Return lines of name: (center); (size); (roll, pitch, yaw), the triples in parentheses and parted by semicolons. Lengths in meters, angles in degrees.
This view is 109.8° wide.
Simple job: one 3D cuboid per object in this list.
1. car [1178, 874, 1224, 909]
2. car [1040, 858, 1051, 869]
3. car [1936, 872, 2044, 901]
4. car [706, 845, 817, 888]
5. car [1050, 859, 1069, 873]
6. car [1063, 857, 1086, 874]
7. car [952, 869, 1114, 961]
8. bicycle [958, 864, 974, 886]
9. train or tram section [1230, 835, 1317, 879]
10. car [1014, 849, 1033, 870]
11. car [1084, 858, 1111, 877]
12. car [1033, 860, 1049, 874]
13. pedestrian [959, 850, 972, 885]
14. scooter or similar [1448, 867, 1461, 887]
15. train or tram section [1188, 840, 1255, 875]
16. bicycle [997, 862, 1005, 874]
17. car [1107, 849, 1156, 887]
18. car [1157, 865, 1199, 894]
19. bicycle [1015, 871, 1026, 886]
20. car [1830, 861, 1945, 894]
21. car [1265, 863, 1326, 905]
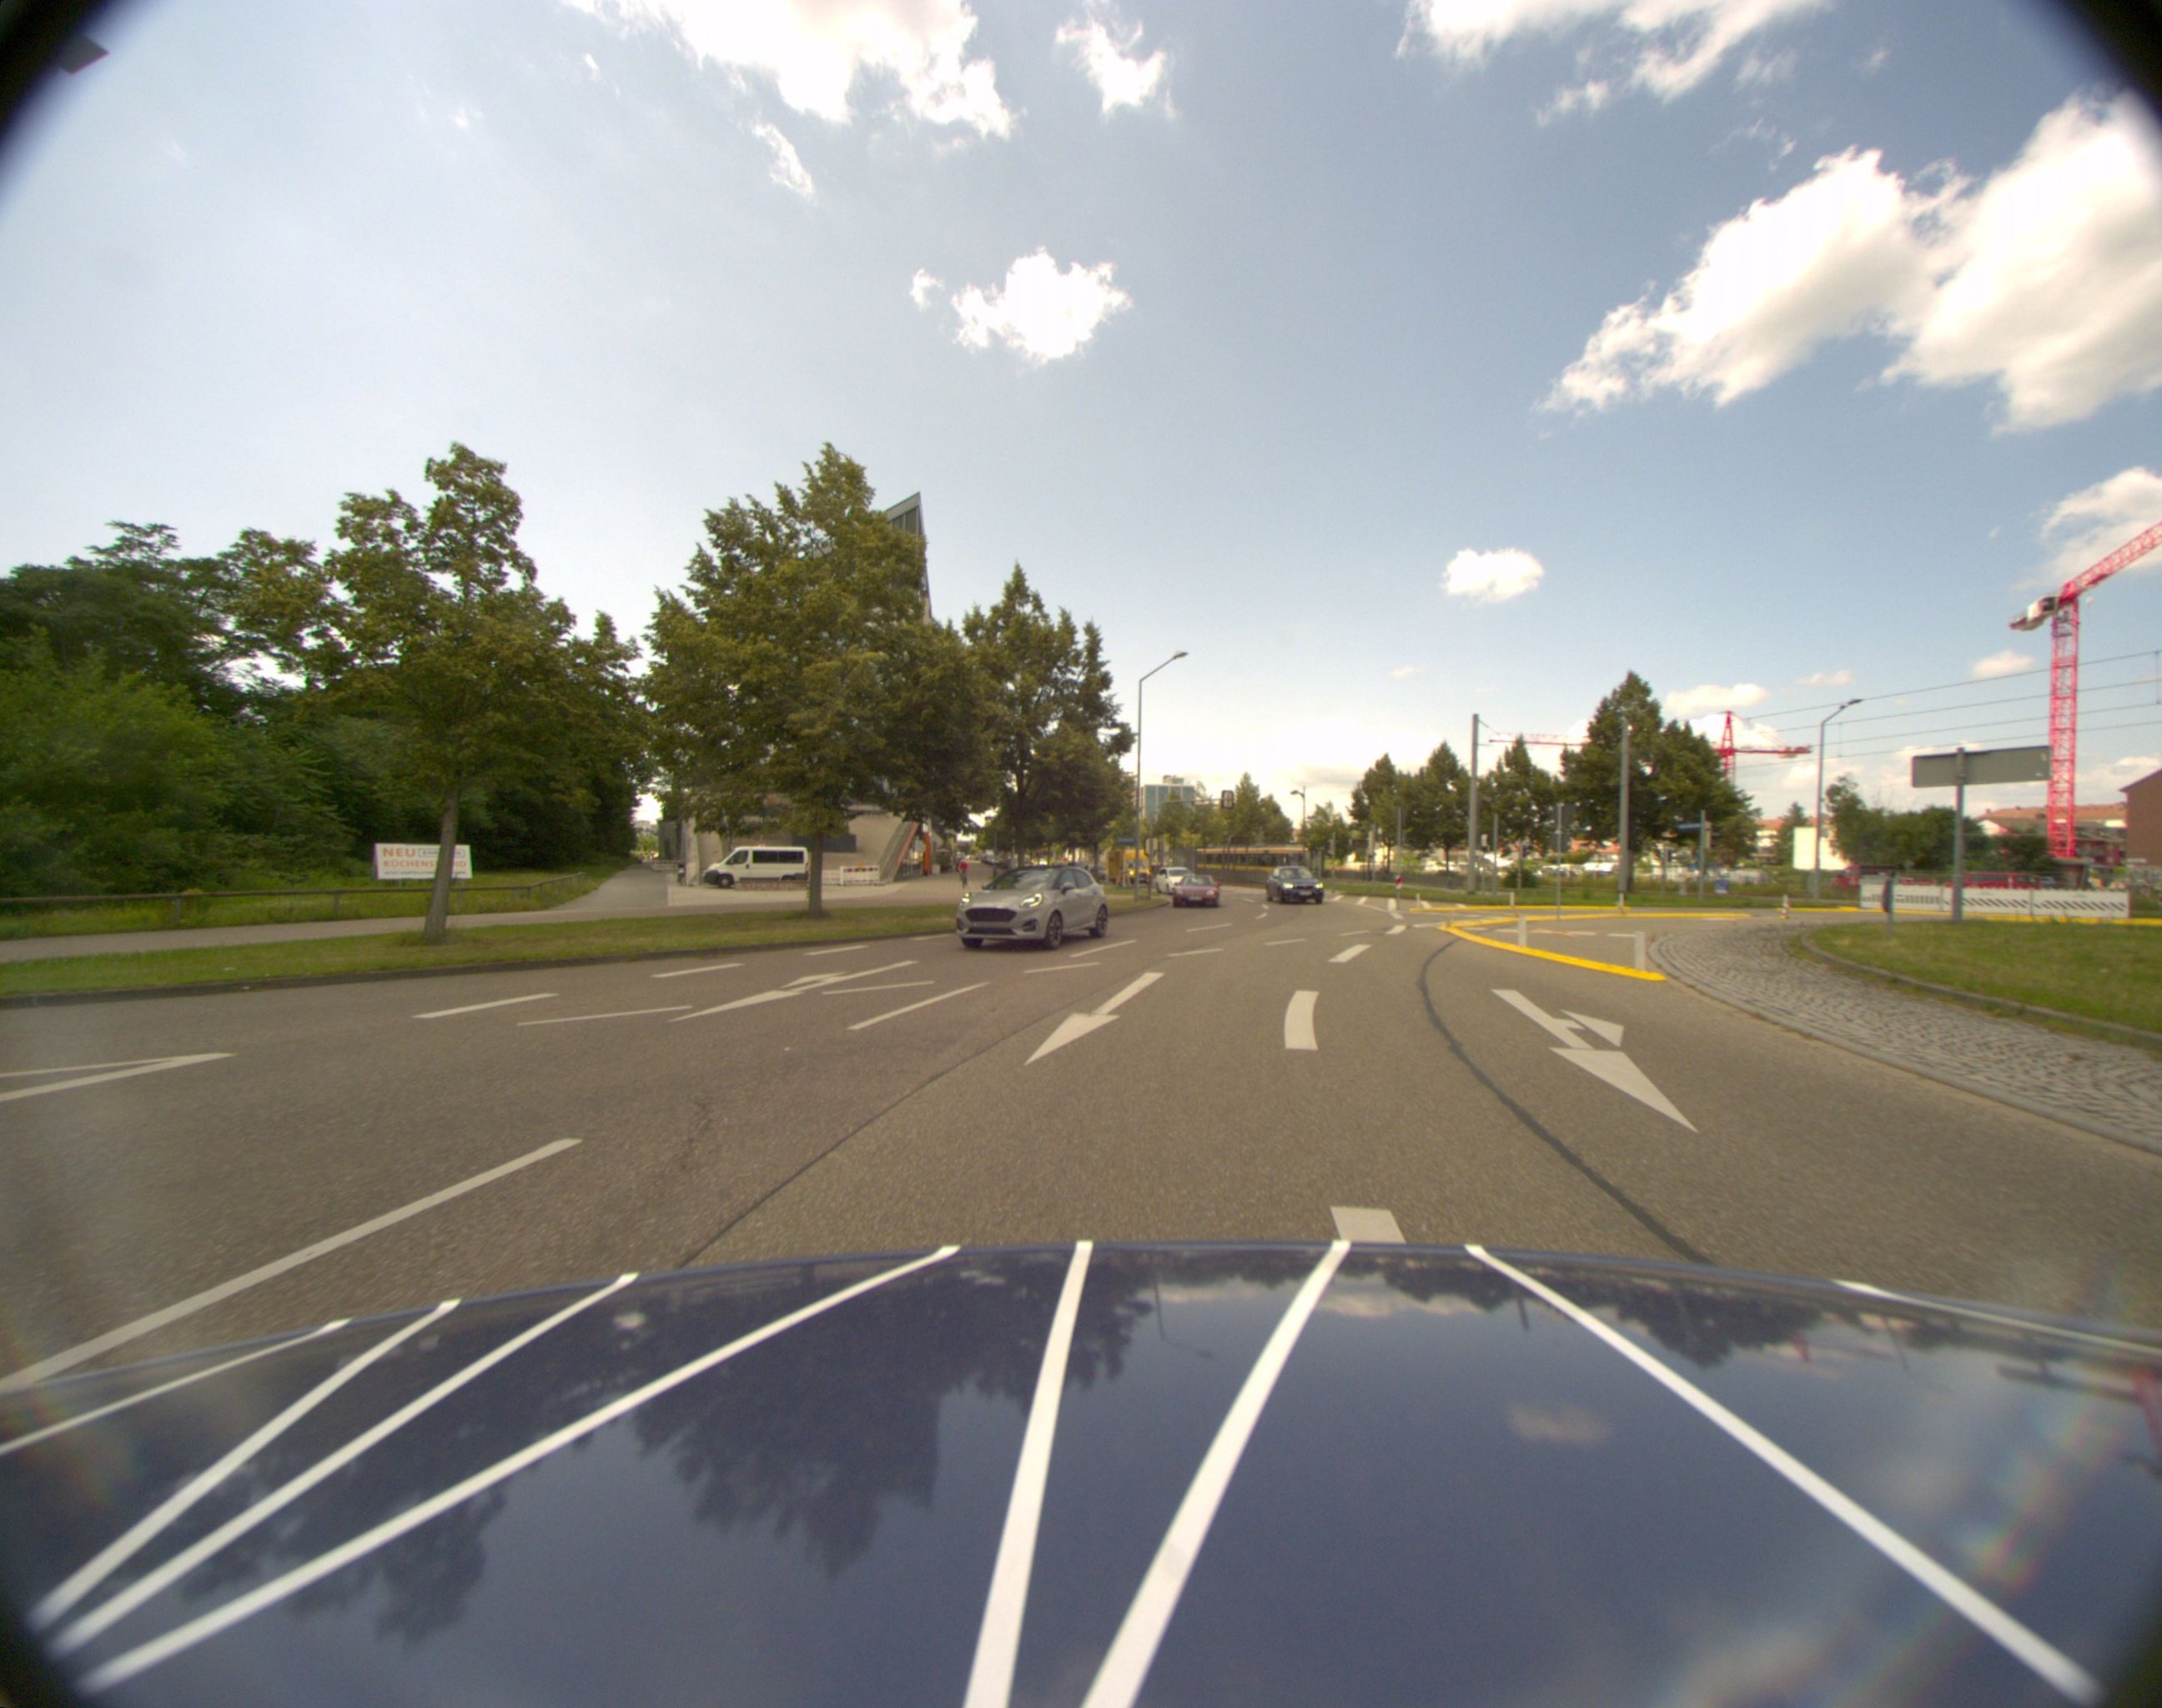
car: (4.899, 1.497, 31.404); (1.673, 1.254, 4.094); (0, 0, 6)
car: (-6.757, 1.819, 145.301); (1.999, 2.002, 3.998); (-1, 1, -4)
car: (64.421, 2.266, 54.017); (2.084, 1.841, 5.189); (1, 0, 10)
car: (-16.673, 0.623, 39.683); (5.159, 2.135, 2.144); (0, 0, -28)
car: (-2.870, 1.592, 98.810); (2.000, 1.681, 4.292); (-1, 1, -7)
car: (-0.742, 1.216, 84.423); (2.000, 1.751, 4.292); (-1, 1, -7)
car: (-0.765, 1.060, 14.884); (1.671, 1.462, 4.098); (0, 0, 20)
bicycle: (-6.718, 1.216, 44.330); (0.813, 1.237, 2.409); (0, -1, -10)
train or tram section: (18.034, 0.281, 72.635); (2.852, 3.717, 13.465); (1, 0, -9)
car: (-6.922, 0.632, 91.135); (2.162, 2.380, 6.275); (-1, 0, -4)
car: (1.586, 1.293, 74.345); (2.000, 1.751, 4.292); (-1, 1, -7)
car: (-5.073, 1.606, 96.045); (1.824, 1.641, 3.997); (-1, 1, -6)
pedestrian: (-6.769, 0.771, 44.552); (0.755, 2.002, 1.230); (0, 1, -10)
scooter or similar: (25.309, 1.550, 51.459); (0.418, 1.295, 1.346); (1, 3, 12)
train or tram section: (15.701, 0.379, 86.544); (2.695, 3.617, 14.652); (1, 0, -9)
bicycle: (-7.313, 1.252, 69.435); (0.516, 1.082, 1.747); (1, 0, -12)
car: (3.910, 1.044, 59.956); (2.286, 2.836, 7.249); (1, 0, -9)
car: (5.747, 1.497, 45.393); (1.674, 1.589, 4.126); (-1, 0, -4)
bicycle: (-3.576, 1.427, 44.915); (0.359, 0.821, 1.472); (1, 0, -14)
car: (57.468, 1.603, 54.401); (2.390, 2.184, 6.847); (1, 0, 15)
car: (9.413, 1.278, 33.597); (1.773, 1.589, 4.128); (-1, 1, 4)
